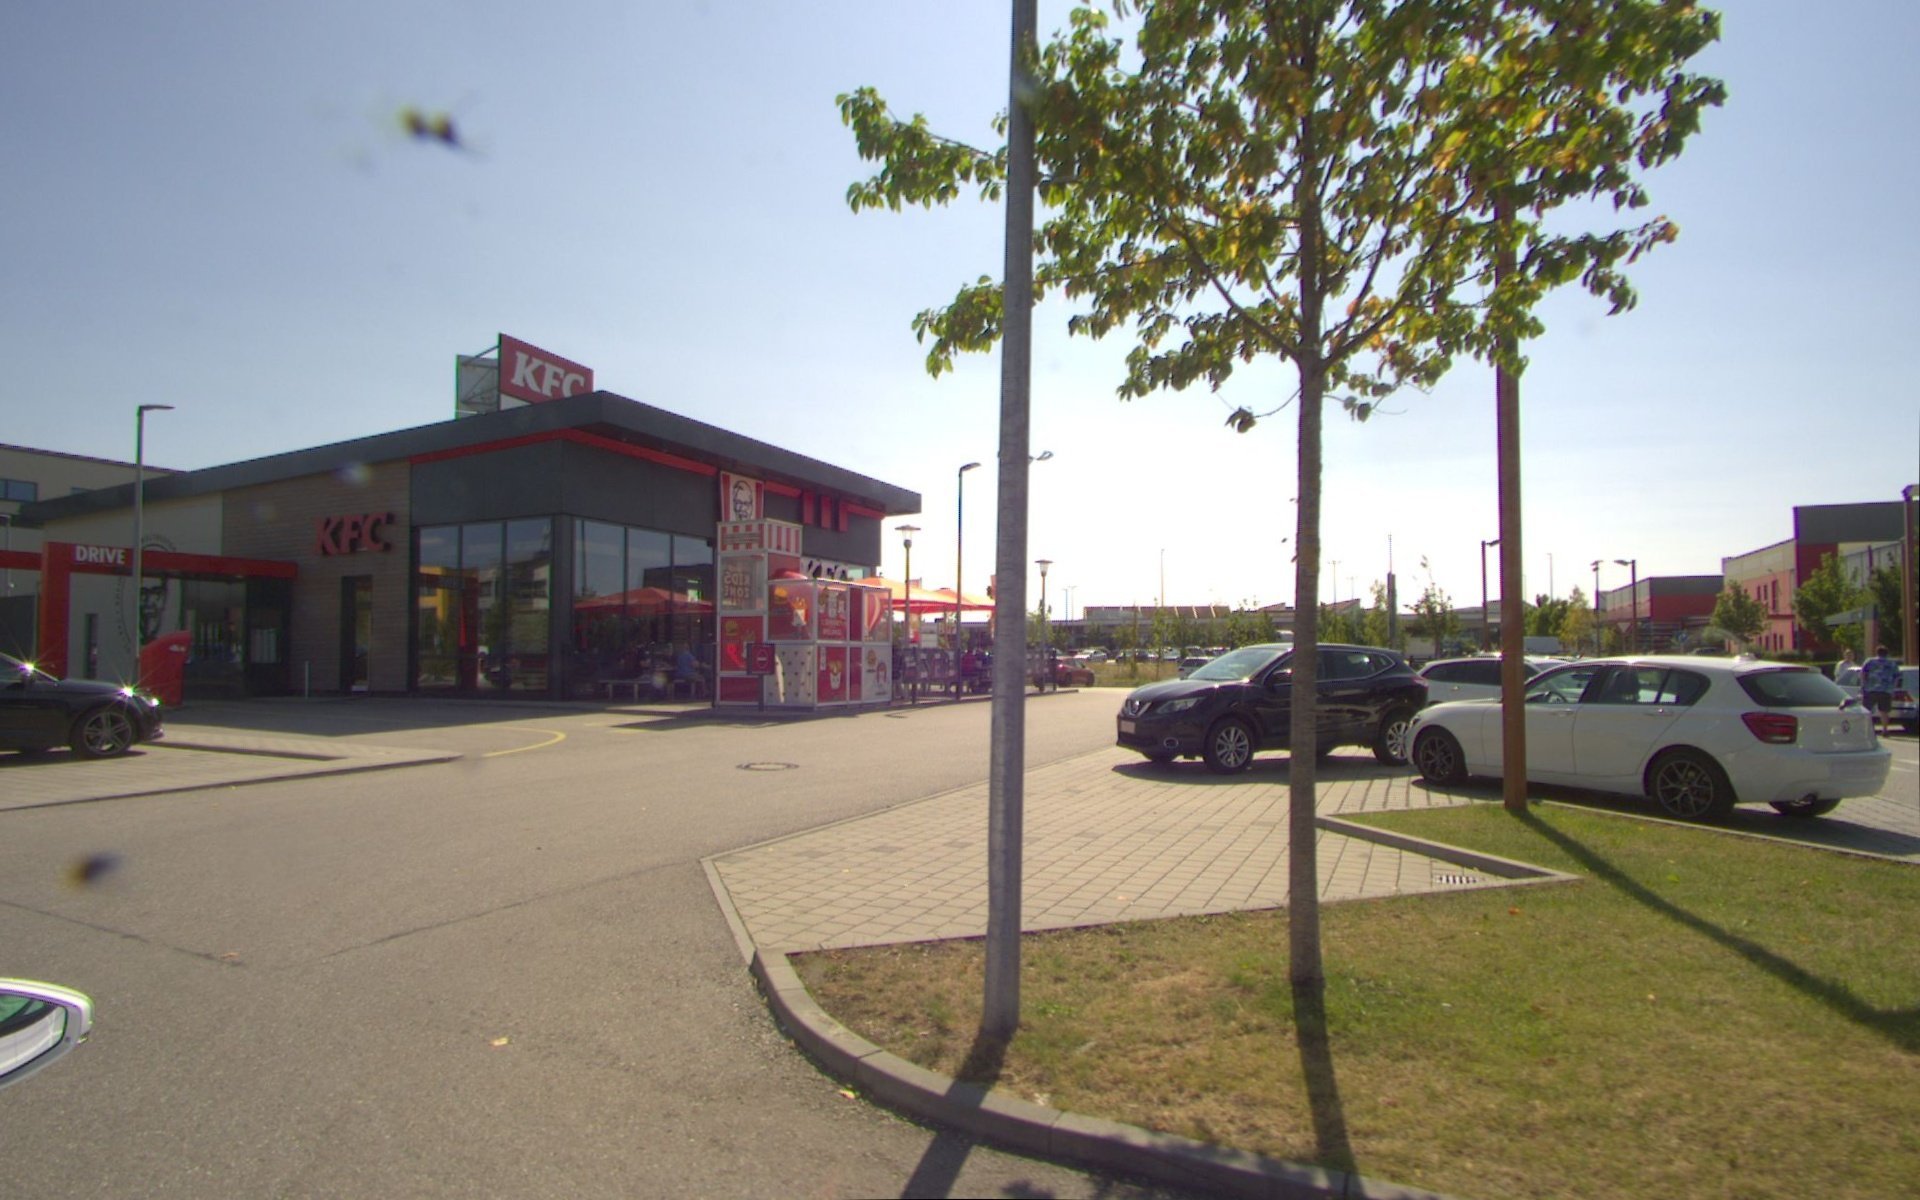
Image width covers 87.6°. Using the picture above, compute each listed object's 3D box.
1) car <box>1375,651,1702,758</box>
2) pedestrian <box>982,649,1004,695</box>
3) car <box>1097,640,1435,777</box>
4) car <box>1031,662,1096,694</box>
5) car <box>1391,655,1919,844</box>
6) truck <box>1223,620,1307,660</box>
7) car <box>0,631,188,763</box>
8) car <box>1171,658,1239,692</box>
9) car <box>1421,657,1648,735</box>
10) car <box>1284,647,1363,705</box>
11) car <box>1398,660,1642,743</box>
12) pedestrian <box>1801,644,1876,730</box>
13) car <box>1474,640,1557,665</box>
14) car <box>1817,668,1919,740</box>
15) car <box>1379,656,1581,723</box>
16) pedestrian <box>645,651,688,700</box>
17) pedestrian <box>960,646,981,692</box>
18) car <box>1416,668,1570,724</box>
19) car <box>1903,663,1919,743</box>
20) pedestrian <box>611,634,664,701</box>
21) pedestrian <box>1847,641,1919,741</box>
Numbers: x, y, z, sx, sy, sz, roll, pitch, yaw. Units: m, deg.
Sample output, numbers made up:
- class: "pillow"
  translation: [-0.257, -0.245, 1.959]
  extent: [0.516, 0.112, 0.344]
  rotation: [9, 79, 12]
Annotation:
- class: "car"
  translation: [9.297, 1.610, 16.564]
  extent: [1.884, 1.489, 4.460]
  rotation: [2, -3, -23]
- class: "pedestrian"
  translation: [0.957, 2.077, 28.959]
  extent: [0.584, 1.285, 0.687]
  rotation: [1, -2, 0]
- class: "car"
  translation: [4.006, 1.358, 13.182]
  extent: [4.018, 1.596, 1.754]
  rotation: [2, -3, -20]
- class: "car"
  translation: [5.115, 3.778, 48.963]
  extent: [1.664, 1.472, 3.737]
  rotation: [-1, -3, 33]
- class: "car"
  translation: [6.608, 1.290, 10.029]
  extent: [1.814, 1.443, 4.176]
  rotation: [2, -3, -22]
- class: "truck"
  translation: [27.143, 3.542, 89.344]
  extent: [2.389, 3.394, 7.526]
  rotation: [2, -2, -31]
- class: "car"
  translation: [-11.448, 1.066, 11.158]
  extent: [1.670, 1.459, 4.205]
  rotation: [0, -3, 24]
- class: "car"
  translation: [11.033, 3.346, 44.918]
  extent: [1.861, 1.415, 4.138]
  rotation: [-1, -3, 31]
- class: "car"
  translation: [12.521, 2.041, 22.076]
  extent: [1.796, 1.507, 3.980]
  rotation: [2, -3, -31]
- class: "car"
  translation: [12.159, 2.476, 33.340]
  extent: [2.039, 1.771, 4.355]
  rotation: [-1, -3, 26]
- class: "car"
  translation: [10.842, 1.911, 19.733]
  extent: [1.790, 1.420, 3.992]
  rotation: [2, -3, -20]
- class: "pedestrian"
  translation: [20.290, 2.005, 23.145]
  extent: [0.901, 1.939, 0.902]
  rotation: [1, -2, -9]
- class: "car"
  translation: [50.814, 4.798, 91.829]
  extent: [6.465, 2.272, 2.295]
  rotation: [-1, -3, 25]
- class: "car"
  translation: [20.917, 2.236, 21.771]
  extent: [3.835, 1.443, 1.704]
  rotation: [2, -3, -17]
- class: "car"
  translation: [13.226, 2.219, 25.722]
  extent: [1.756, 1.530, 4.327]
  rotation: [2, -3, -33]
- class: "pedestrian"
  translation: [-6.712, 1.717, 22.917]
  extent: [0.618, 1.085, 0.716]
  rotation: [0, -2, 22]
- class: "pedestrian"
  translation: [0.305, 1.993, 28.934]
  extent: [0.584, 1.285, 0.687]
  rotation: [1, -2, 0]
- class: "car"
  translation: [16.869, 3.002, 31.901]
  extent: [1.781, 1.575, 4.036]
  rotation: [2, -3, -29]
- class: "car"
  translation: [20.584, 1.990, 19.107]
  extent: [4.341, 1.529, 1.980]
  rotation: [2, -3, -19]
- class: "pedestrian"
  translation: [-7.128, 1.476, 22.154]
  extent: [0.759, 1.453, 0.798]
  rotation: [0, -2, 22]
- class: "pedestrian"
  translation: [18.690, 1.816, 20.263]
  extent: [1.016, 1.939, 0.897]
  rotation: [-1, -3, 37]
